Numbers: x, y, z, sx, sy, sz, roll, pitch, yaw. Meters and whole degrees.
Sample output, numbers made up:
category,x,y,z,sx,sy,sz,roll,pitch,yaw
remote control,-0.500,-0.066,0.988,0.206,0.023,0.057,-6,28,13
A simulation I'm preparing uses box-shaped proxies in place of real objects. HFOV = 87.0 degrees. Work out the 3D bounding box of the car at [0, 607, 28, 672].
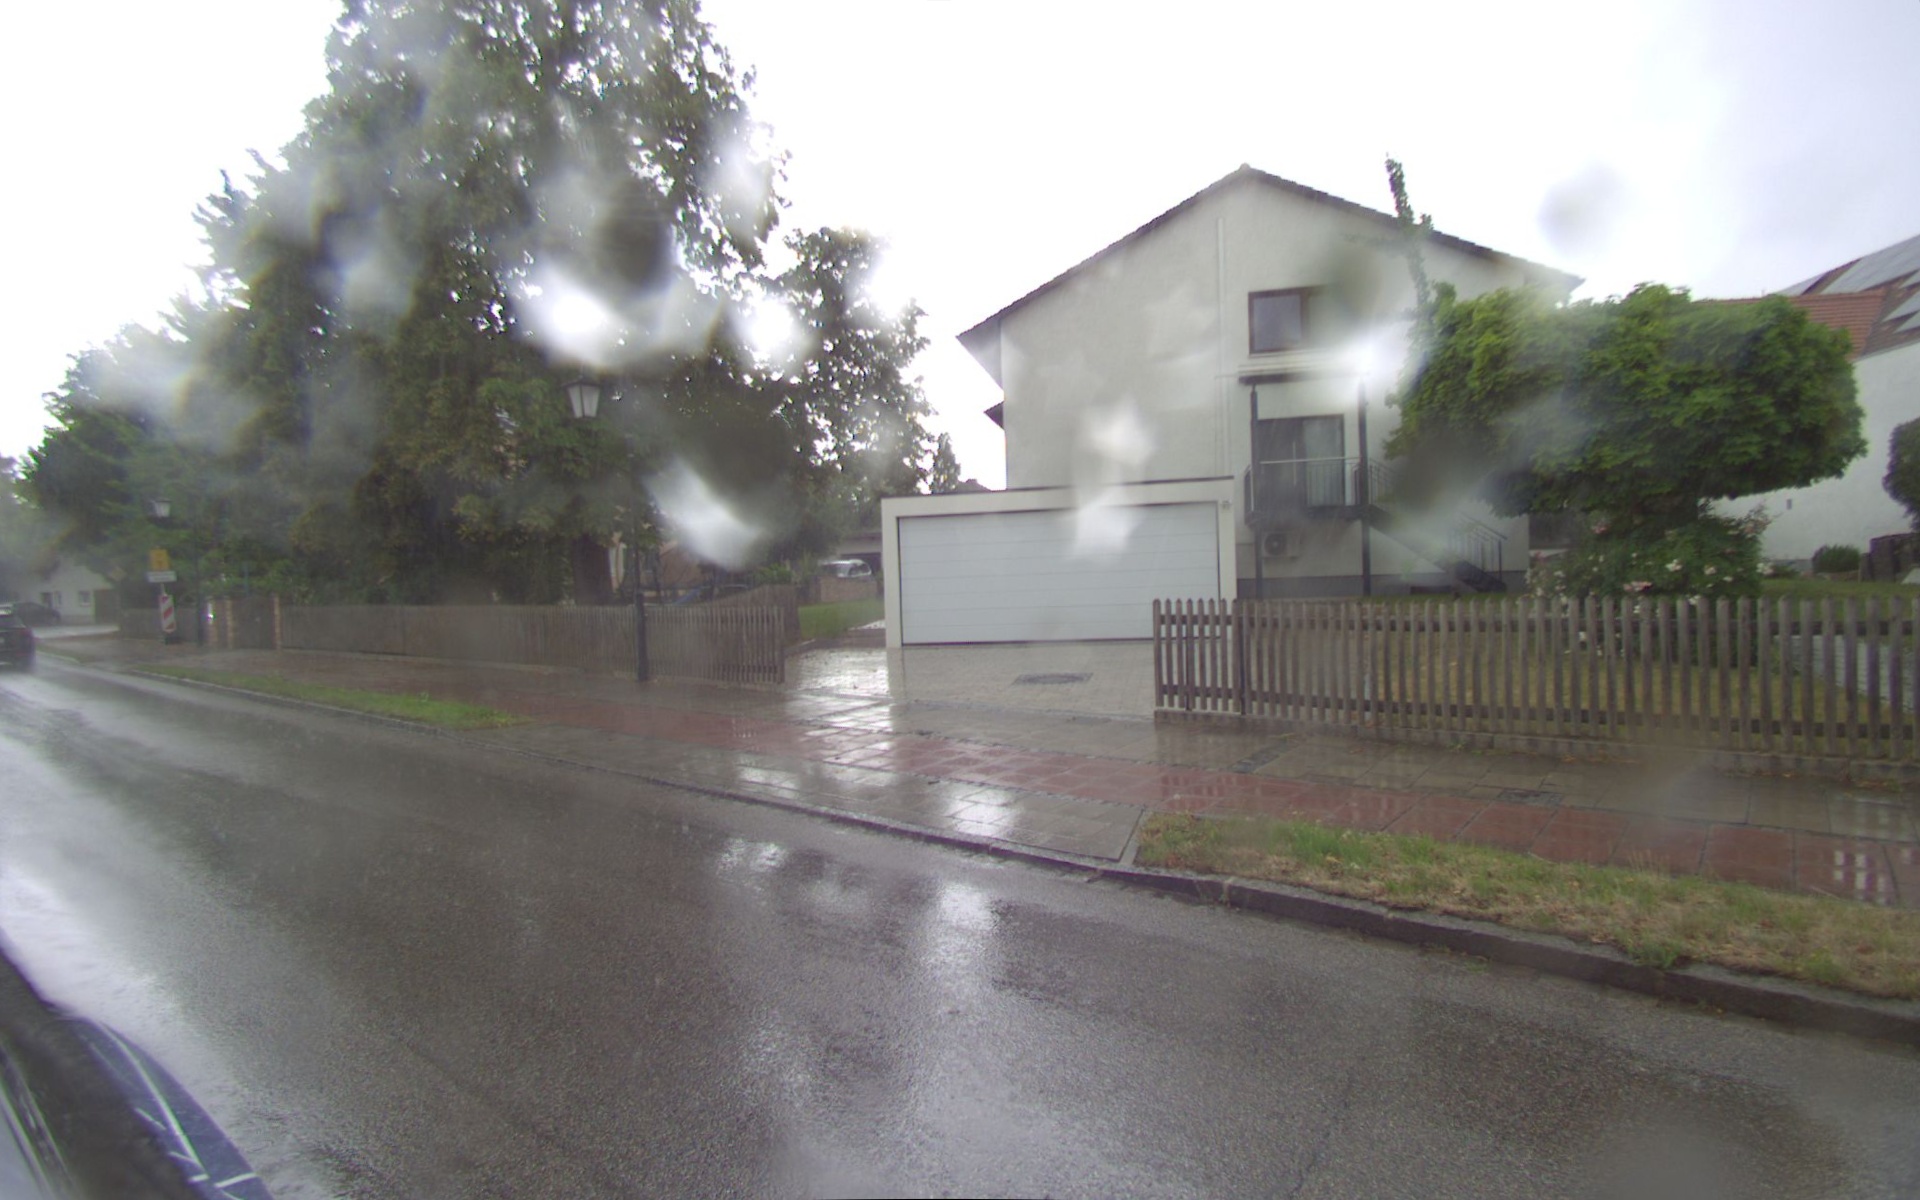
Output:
category,x,y,z,sx,sy,sz,roll,pitch,yaw
car,-24.450,0.970,25.032,4.186,1.532,1.621,-1,-1,41

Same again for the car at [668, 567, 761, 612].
category,x,y,z,sx,sy,sz,roll,pitch,yaw
car,-11.230,-0.500,46.446,3.613,1.815,1.839,-3,2,7

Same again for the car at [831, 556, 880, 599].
category,x,y,z,sx,sy,sz,roll,pitch,yaw
car,-5.887,-1.253,57.399,1.768,2.311,3.838,-1,0,11

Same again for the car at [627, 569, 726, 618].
category,x,y,z,sx,sy,sz,roll,pitch,yaw
car,-12.192,-0.311,43.692,3.613,1.815,1.839,-3,2,7
